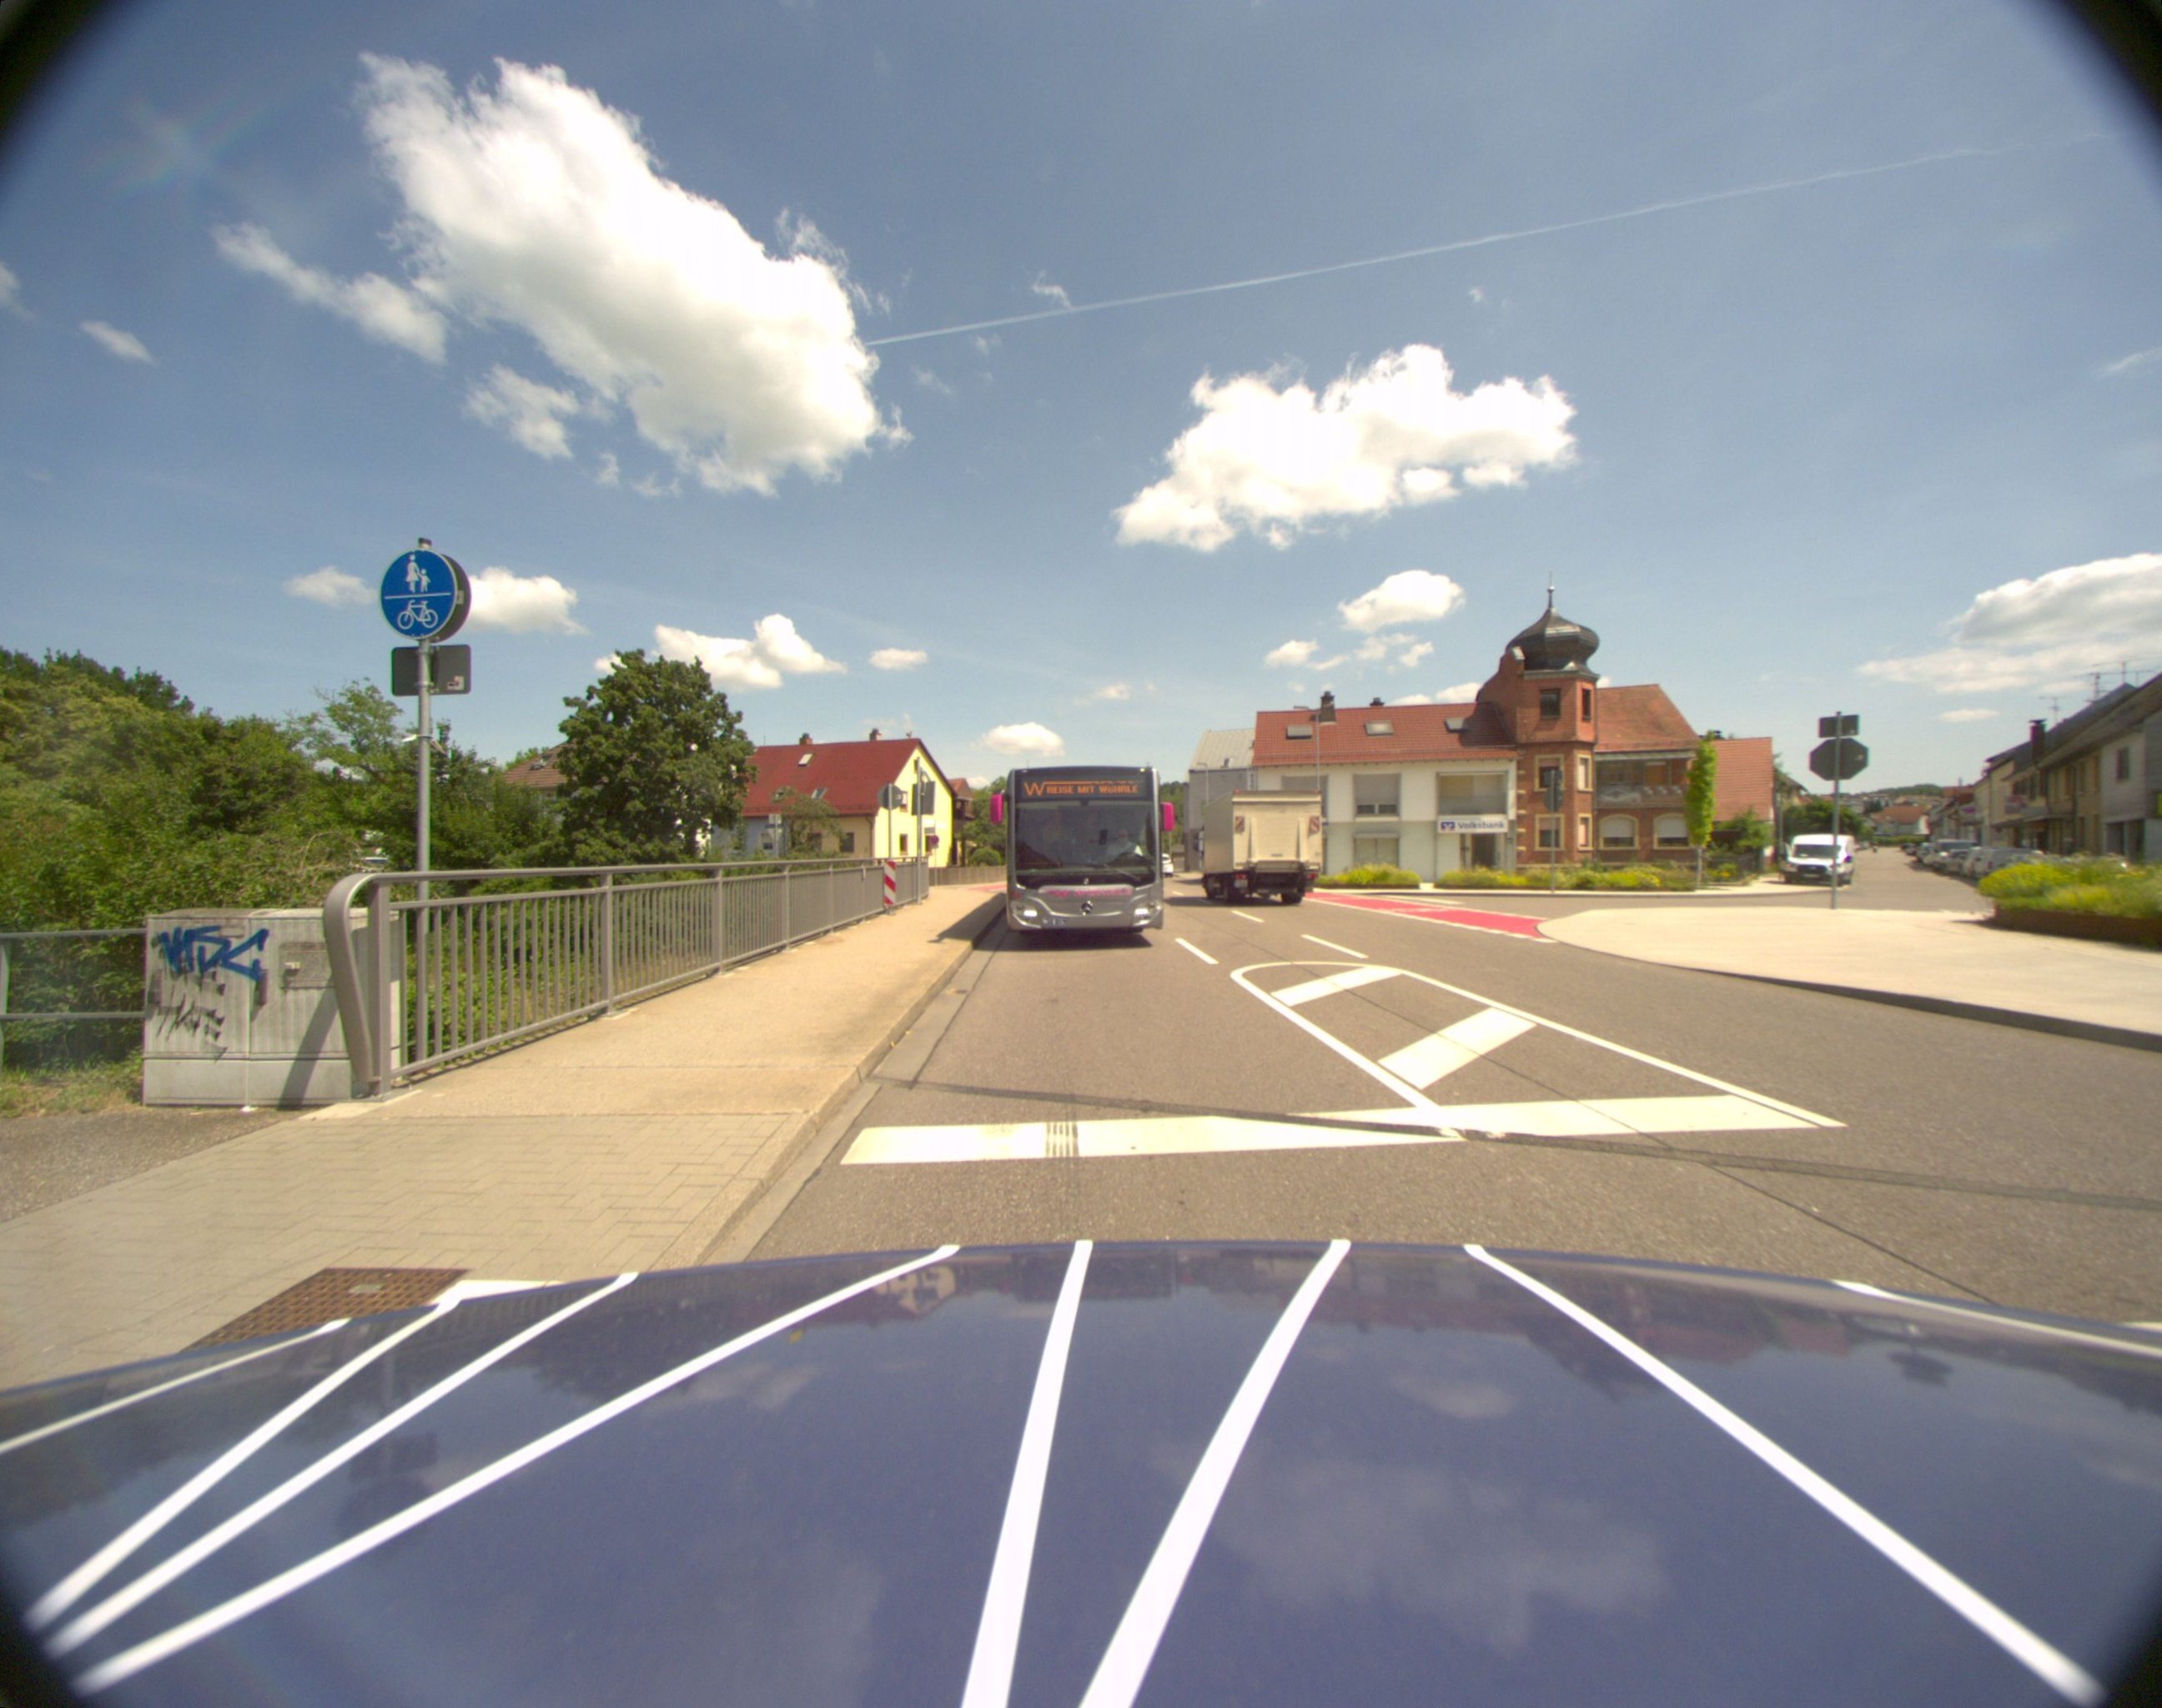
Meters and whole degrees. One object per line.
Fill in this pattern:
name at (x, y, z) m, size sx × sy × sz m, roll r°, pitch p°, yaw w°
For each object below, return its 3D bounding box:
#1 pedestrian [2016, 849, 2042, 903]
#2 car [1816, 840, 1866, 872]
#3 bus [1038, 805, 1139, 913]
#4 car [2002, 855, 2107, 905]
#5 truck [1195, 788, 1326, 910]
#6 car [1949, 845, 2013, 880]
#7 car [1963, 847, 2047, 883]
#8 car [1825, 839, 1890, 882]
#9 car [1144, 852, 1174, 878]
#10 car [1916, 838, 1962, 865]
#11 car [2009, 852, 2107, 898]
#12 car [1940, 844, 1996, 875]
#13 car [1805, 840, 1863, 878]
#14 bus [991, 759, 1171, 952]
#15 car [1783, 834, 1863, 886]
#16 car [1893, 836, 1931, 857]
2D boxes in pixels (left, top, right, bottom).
pedestrian at (31.042, 0.705, 24.868) m, size 0.616 × 1.738 × 0.505 m, roll -1°, pitch 1°, yaw -37°
car at (58.753, 0.120, 58.696) m, size 5.122 × 2.332 × 2.167 m, roll 0°, pitch 1°, yaw -40°
bus at (0.282, 0.262, 25.776) m, size 2.755 × 2.949 × 9.283 m, roll 1°, pitch -1°, yaw 1°
car at (31.235, 0.763, 24.492) m, size 4.008 × 1.455 × 1.856 m, roll 0°, pitch 0°, yaw -41°
truck at (5.240, -0.124, 23.307) m, size 2.508 × 3.216 × 6.040 m, roll -1°, pitch 0°, yaw 0°
car at (51.181, 0.423, 43.277) m, size 1.918 × 1.867 × 4.008 m, roll 2°, pitch 2°, yaw 44°
car at (47.534, 0.529, 39.195) m, size 2.063 × 1.718 × 4.008 m, roll 2°, pitch 1°, yaw 41°
car at (44.887, 0.311, 43.901) m, size 5.122 × 2.332 × 2.167 m, roll 0°, pitch 1°, yaw -40°
car at (5.441, 0.760, 53.198) m, size 1.819 × 1.640 × 4.000 m, roll -2°, pitch 1°, yaw 2°
car at (61.989, -0.199, 54.956) m, size 1.862 × 1.839 × 4.008 m, roll 2°, pitch 2°, yaw 44°
car at (36.091, 0.713, 28.173) m, size 4.242 × 1.538 × 1.782 m, roll 0°, pitch 1°, yaw -44°
car at (55.508, 0.316, 47.619) m, size 1.862 × 1.839 × 4.008 m, roll 2°, pitch 2°, yaw 44°
car at (49.783, 0.296, 50.220) m, size 5.122 × 2.332 × 2.167 m, roll 0°, pitch 1°, yaw -40°
bus at (0.115, 0.137, 16.441) m, size 2.755 × 2.949 × 9.284 m, roll 1°, pitch -1°, yaw 1°
car at (35.980, 0.254, 36.799) m, size 5.122 × 2.332 × 2.167 m, roll 0°, pitch 1°, yaw -40°
car at (80.341, -0.713, 73.518) m, size 1.994 × 2.002 × 4.008 m, roll 2°, pitch 1°, yaw 42°
